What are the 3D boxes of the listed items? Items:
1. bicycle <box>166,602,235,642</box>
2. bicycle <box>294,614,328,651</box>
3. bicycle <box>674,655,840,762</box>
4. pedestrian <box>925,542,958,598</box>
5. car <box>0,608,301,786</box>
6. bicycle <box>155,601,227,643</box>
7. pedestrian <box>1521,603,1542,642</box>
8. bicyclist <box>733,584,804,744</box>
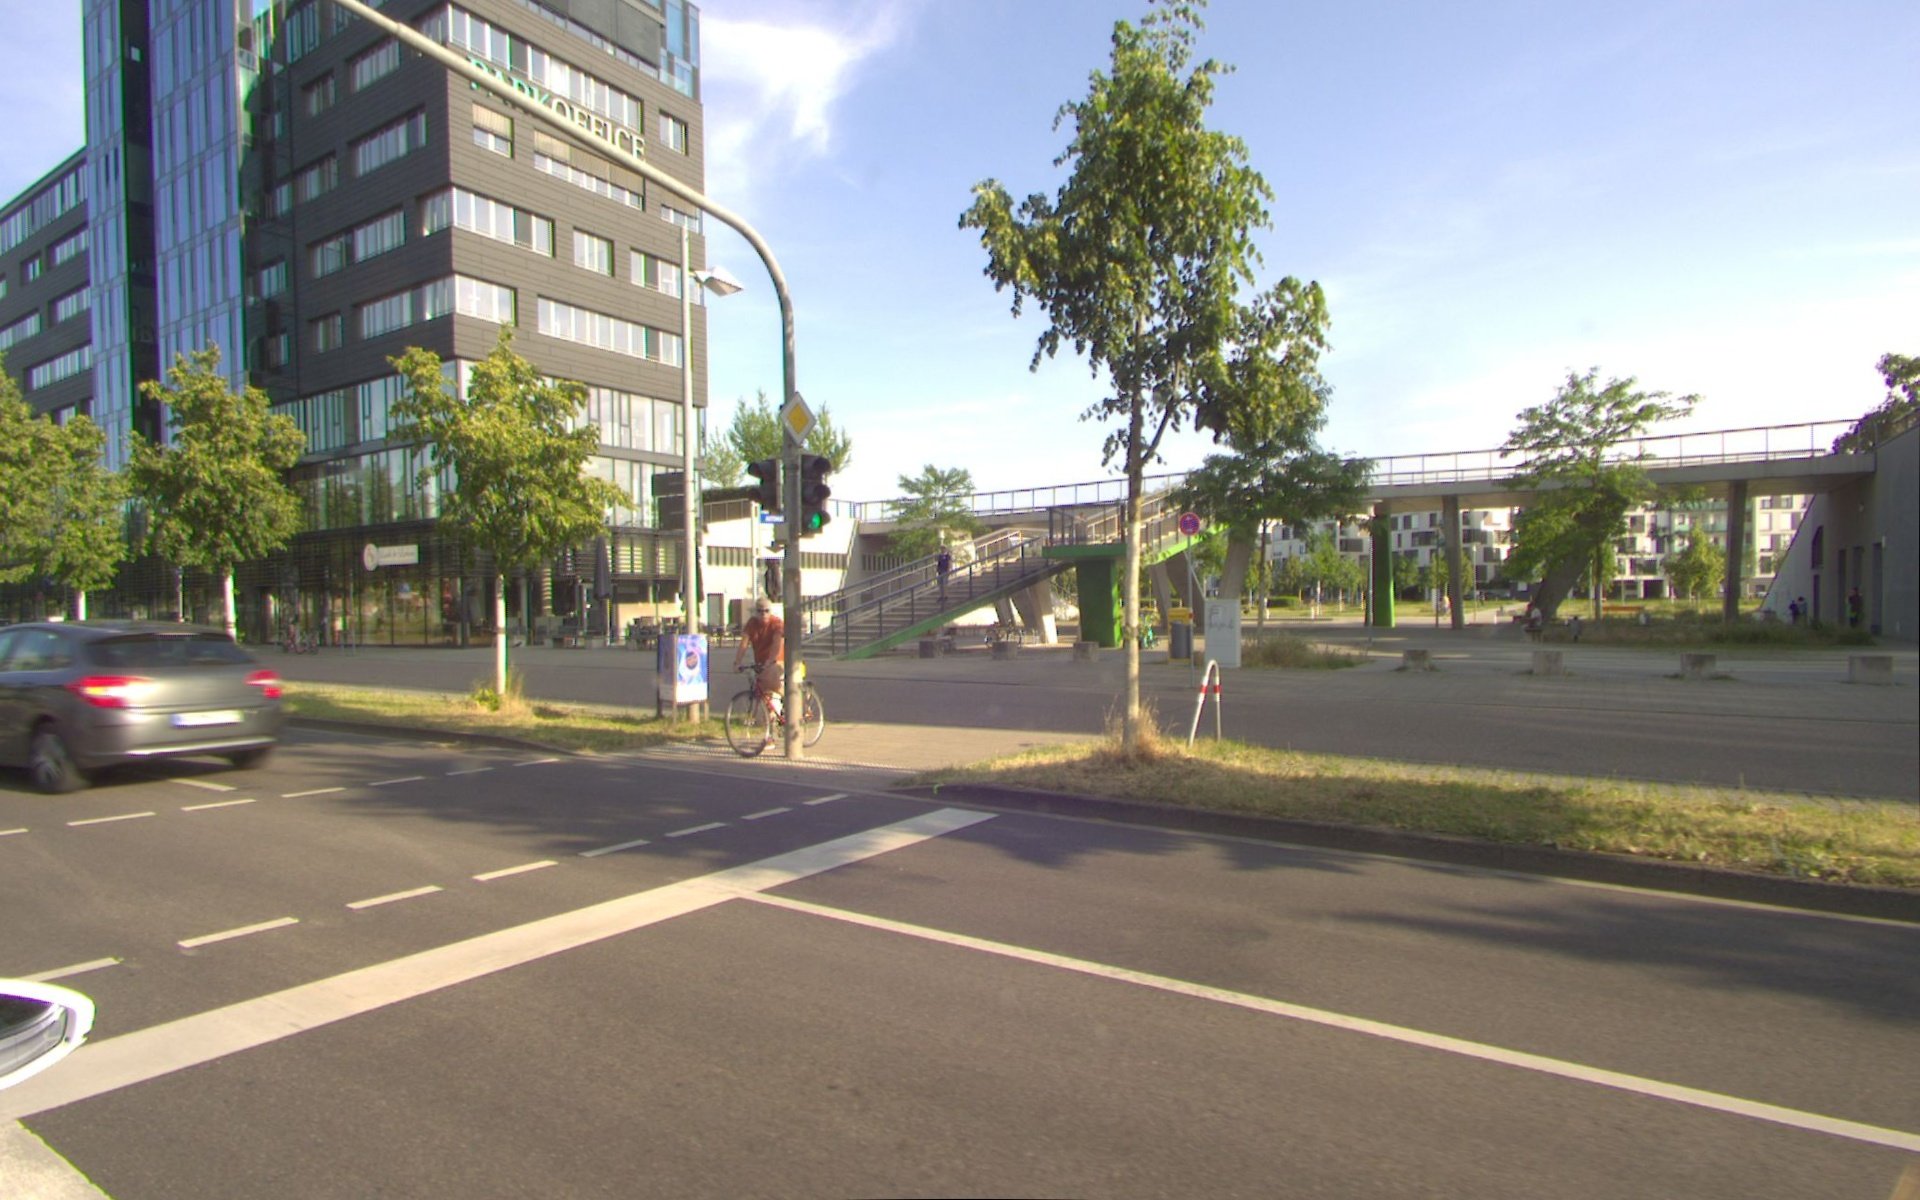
[{"bbox_3d":[-34.481,1.019,45.487,0.548,1.768,2.422,-1,-2,42],"label":"bicycle"},{"bbox_3d":[-24.460,1.231,37.702,1.868,1.363,0.372,-1,-2,34],"label":"bicycle"},{"bbox_3d":[-2.190,1.146,11.126,0.563,1.025,2.132,-1,-2,29],"label":"bicycle"},{"bbox_3d":[-0.586,-0.924,31.549,0.689,1.713,0.779,1,-1,-44],"label":"pedestrian"},{"bbox_3d":[-8.521,0.836,9.750,3.974,1.442,1.695,-1,-2,25],"label":"car"},{"bbox_3d":[-35.315,1.017,46.008,0.563,1.881,2.551,-1,-2,42],"label":"bicycle"},{"bbox_3d":[19.755,0.776,34.617,0.573,1.310,0.595,-1,-1,33],"label":"pedestrian"},{"bbox_3d":[-2.141,0.706,11.207,0.533,1.728,0.574,0,-1,30],"label":"bicyclist"}]
